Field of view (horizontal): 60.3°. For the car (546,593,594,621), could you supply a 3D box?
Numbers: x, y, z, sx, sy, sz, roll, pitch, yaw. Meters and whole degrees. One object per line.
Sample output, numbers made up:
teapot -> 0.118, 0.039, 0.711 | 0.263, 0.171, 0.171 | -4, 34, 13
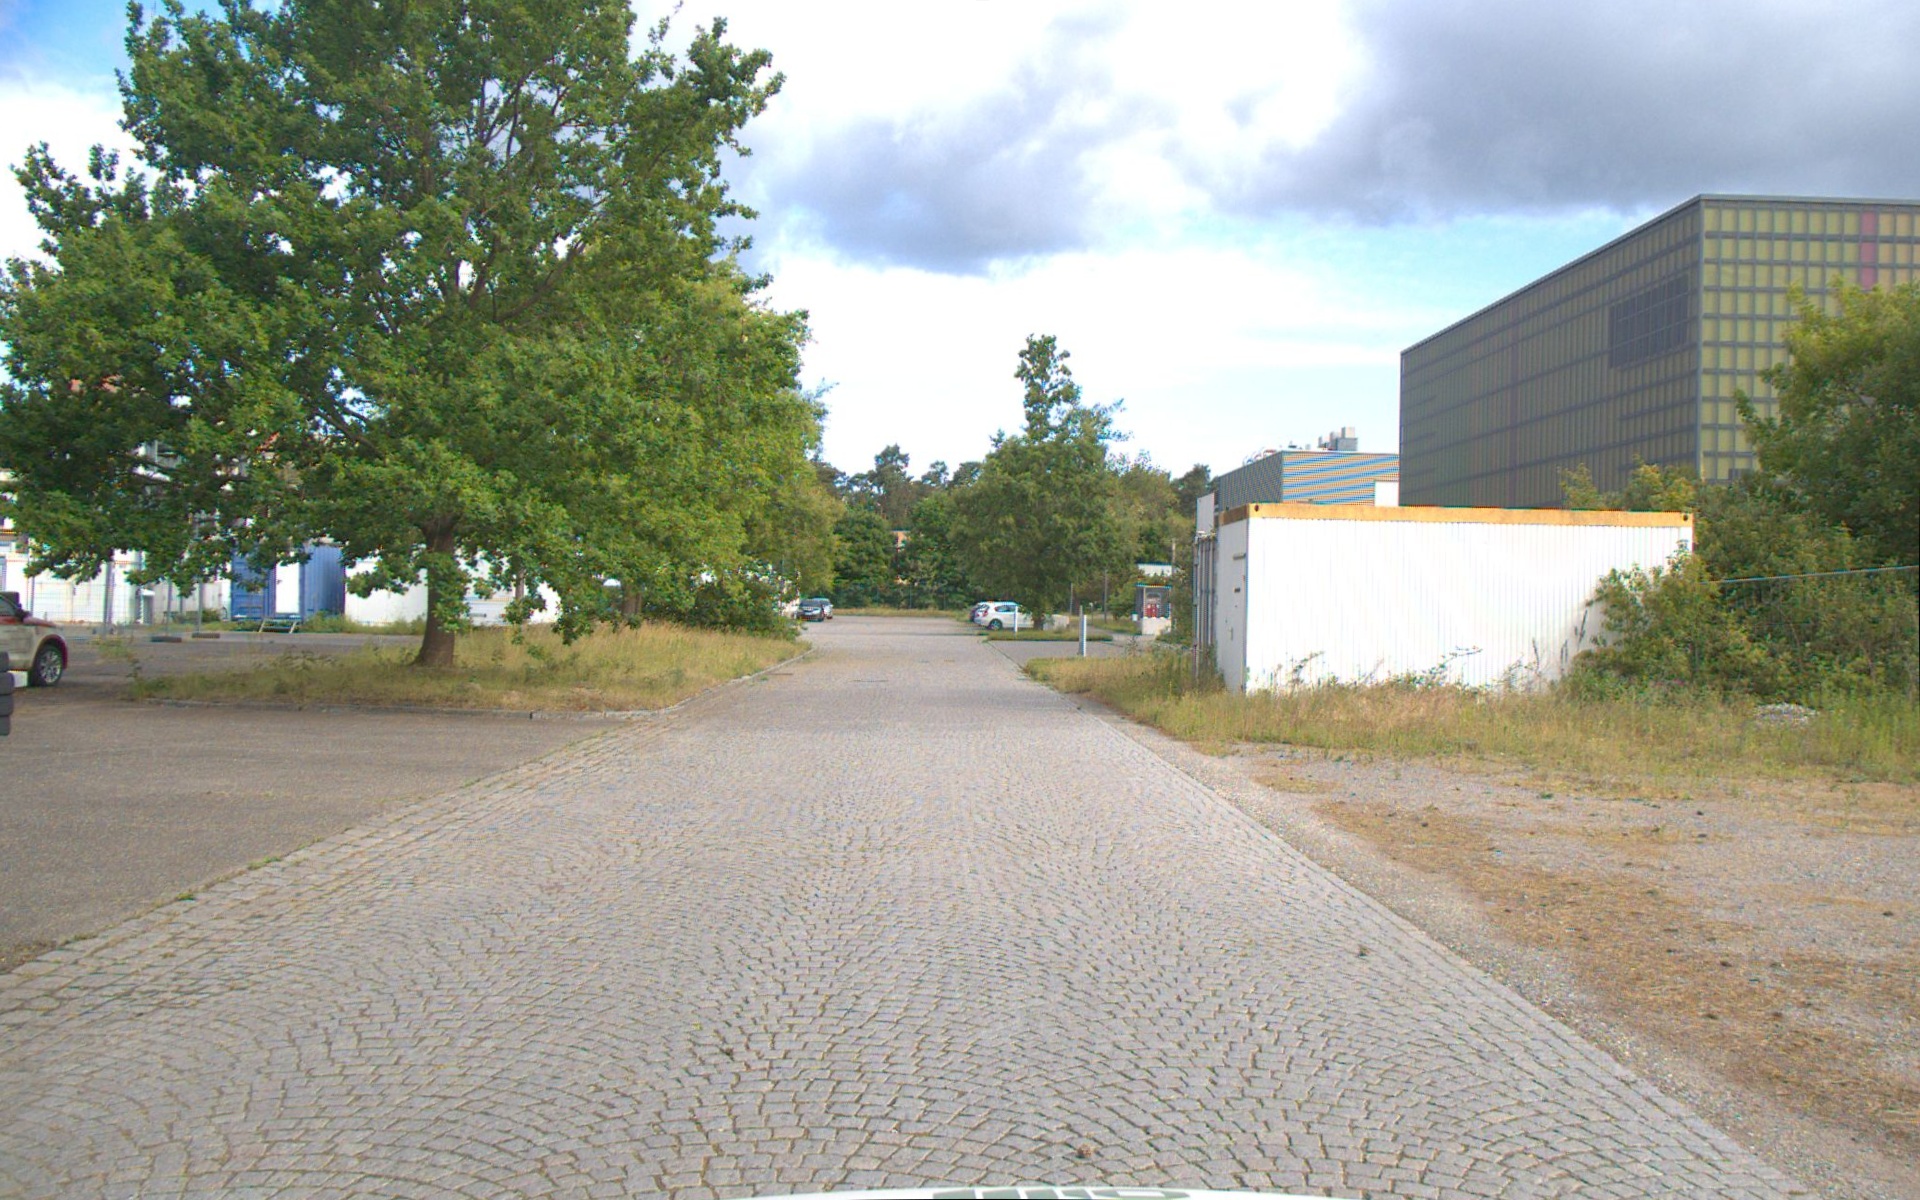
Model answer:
car -> -23.306, 0.398, 98.956 | 1.862, 1.602, 4.000 | 1, 0, 0

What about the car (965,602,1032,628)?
car -> 2.274, 0.871, 98.757 | 3.906, 1.481, 1.769 | 1, 0, -1

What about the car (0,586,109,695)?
car -> -13.720, 0.533, 22.558 | 1.785, 1.457, 4.221 | 1, 0, 4

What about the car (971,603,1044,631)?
car -> 2.606, 0.922, 90.822 | 3.906, 1.481, 1.697 | 1, 0, -1

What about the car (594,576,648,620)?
car -> -20.529, -0.079, 100.323 | 1.952, 2.567, 5.619 | 1, 0, 2

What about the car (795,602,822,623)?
car -> -10.267, 0.813, 112.225 | 1.714, 1.388, 3.997 | 1, 0, -4

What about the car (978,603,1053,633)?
car -> 2.953, 0.948, 88.663 | 3.906, 1.481, 1.999 | 1, -1, -1

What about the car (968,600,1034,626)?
car -> 2.507, 0.794, 101.981 | 3.909, 1.560, 1.998 | 1, 0, -6

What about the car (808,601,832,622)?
car -> -10.345, 0.837, 122.459 | 1.714, 1.480, 3.997 | 1, 0, -4

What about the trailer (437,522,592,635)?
trailer -> -16.141, -0.700, 60.833 | 2.602, 3.770, 10.722 | 1, 0, 1

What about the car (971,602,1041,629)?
car -> 2.581, 0.863, 93.862 | 3.906, 1.481, 1.769 | 1, 0, -1
